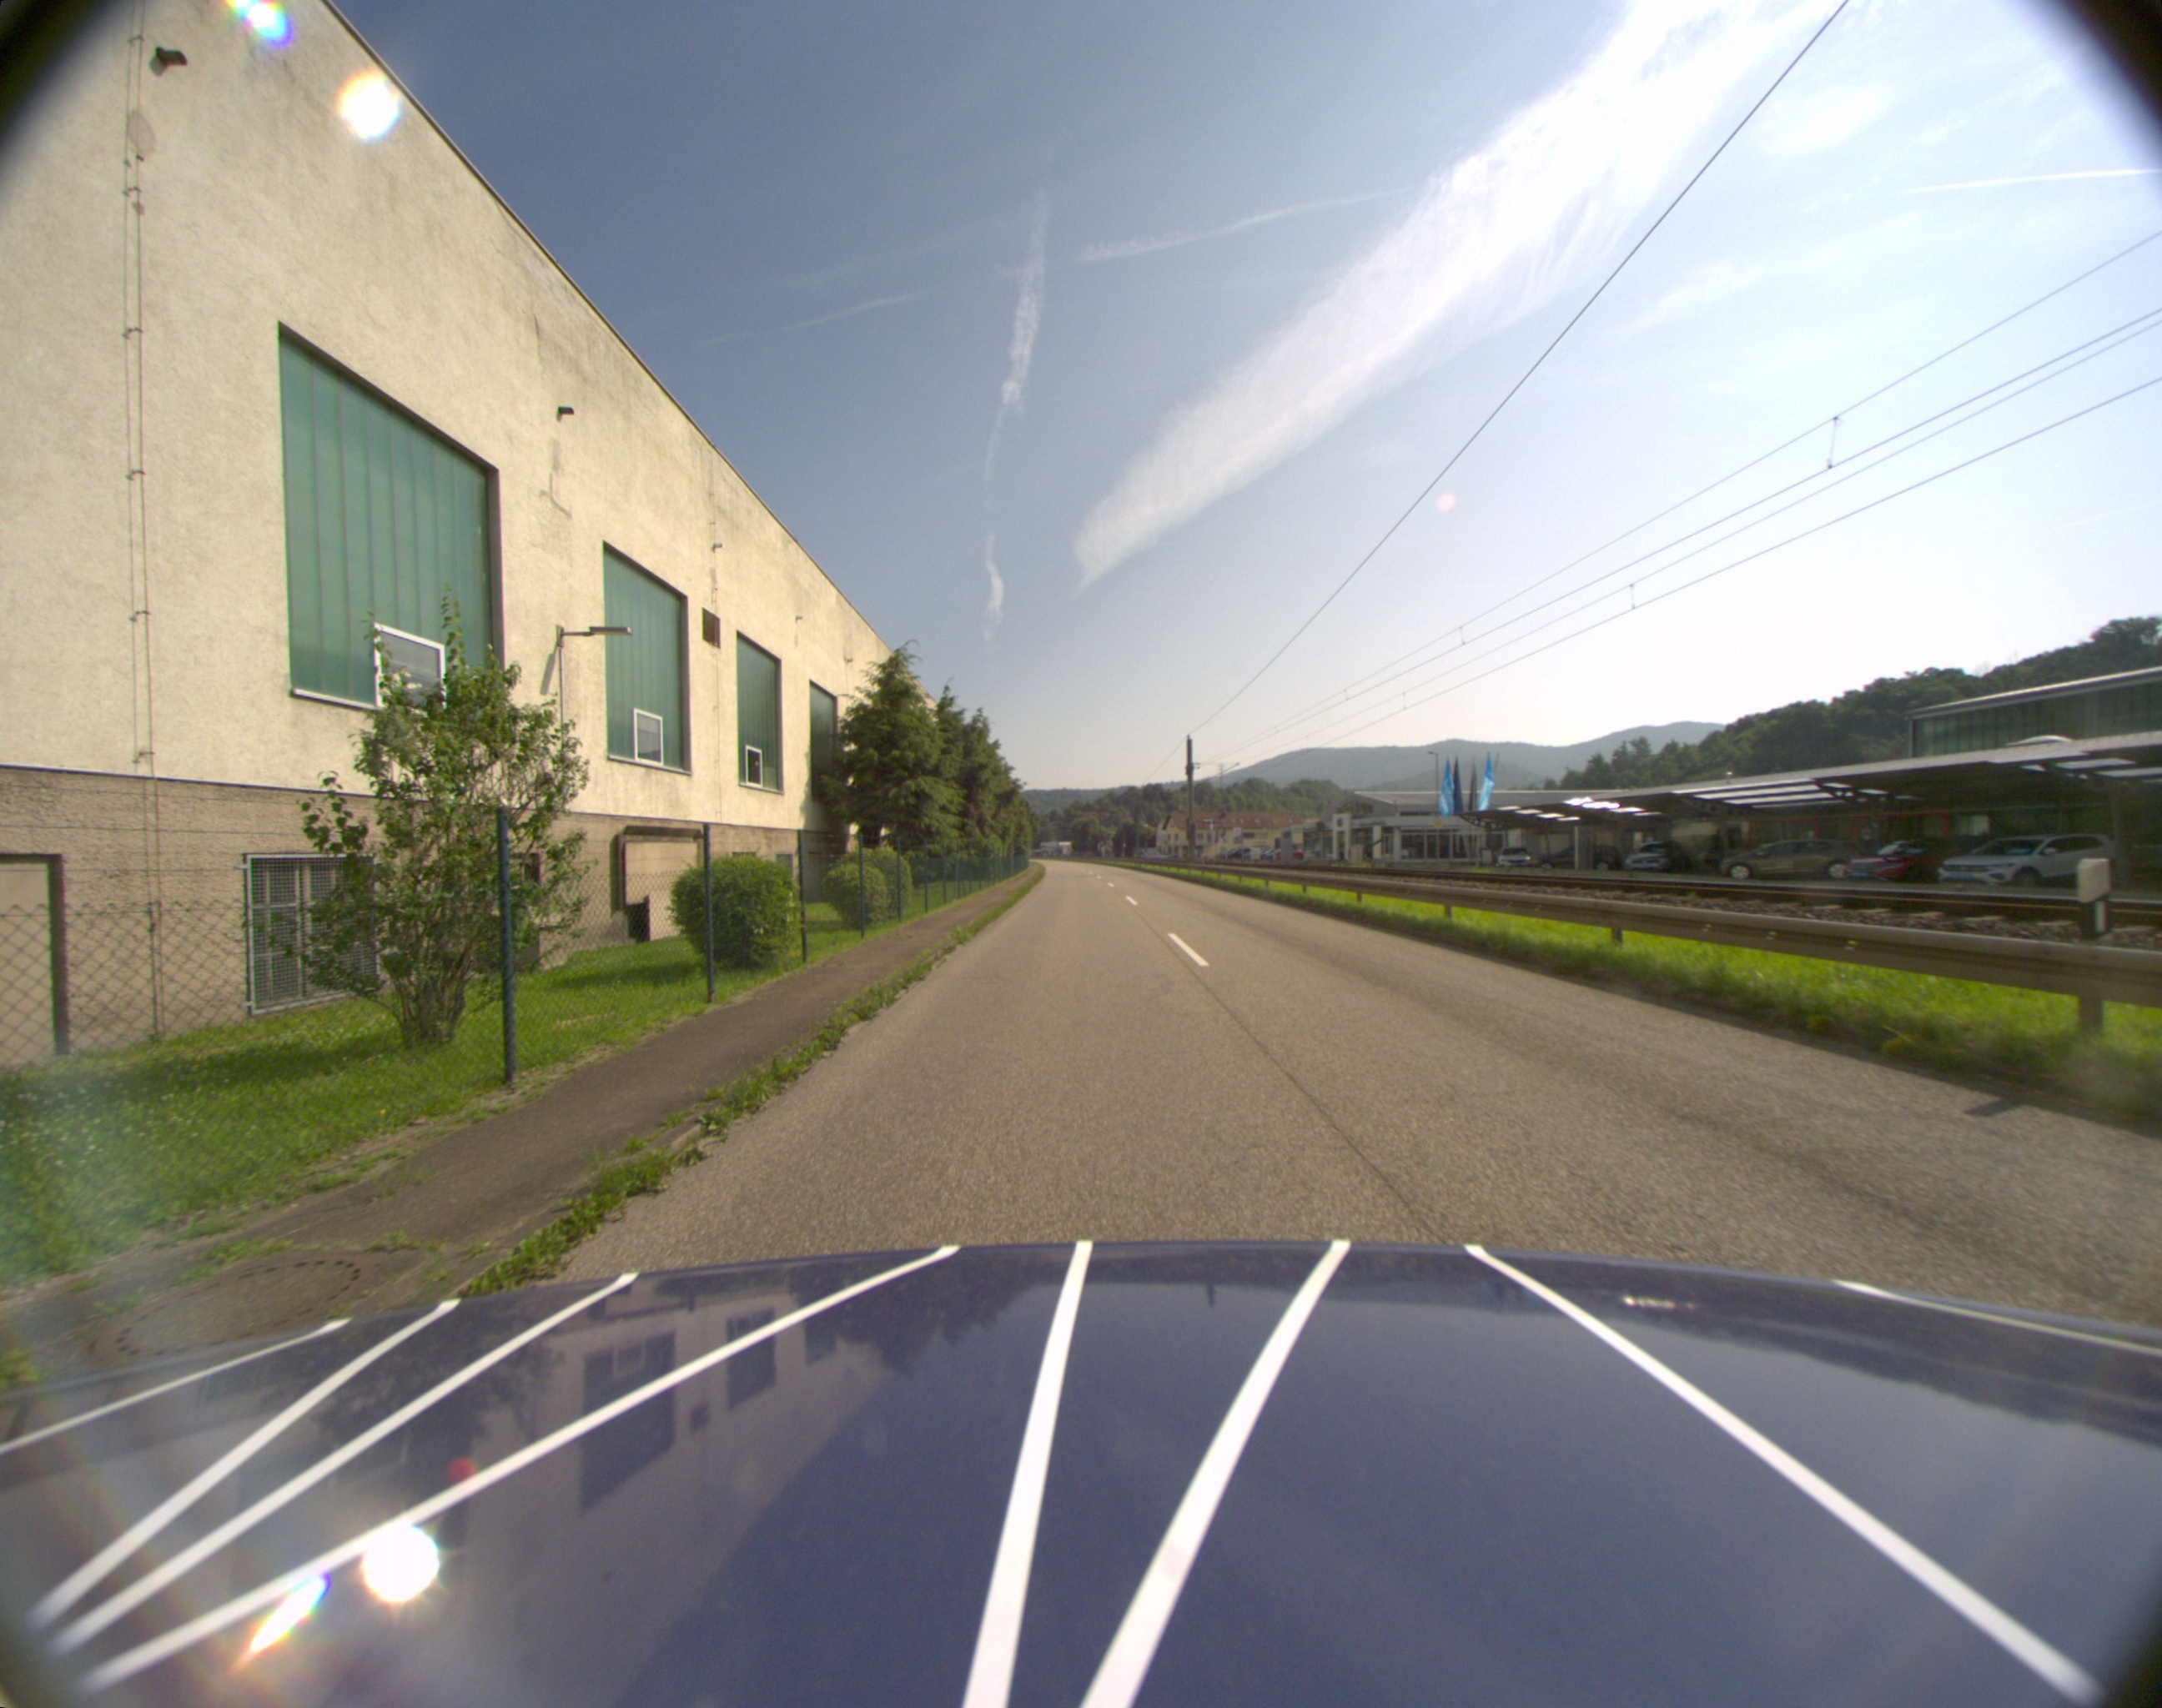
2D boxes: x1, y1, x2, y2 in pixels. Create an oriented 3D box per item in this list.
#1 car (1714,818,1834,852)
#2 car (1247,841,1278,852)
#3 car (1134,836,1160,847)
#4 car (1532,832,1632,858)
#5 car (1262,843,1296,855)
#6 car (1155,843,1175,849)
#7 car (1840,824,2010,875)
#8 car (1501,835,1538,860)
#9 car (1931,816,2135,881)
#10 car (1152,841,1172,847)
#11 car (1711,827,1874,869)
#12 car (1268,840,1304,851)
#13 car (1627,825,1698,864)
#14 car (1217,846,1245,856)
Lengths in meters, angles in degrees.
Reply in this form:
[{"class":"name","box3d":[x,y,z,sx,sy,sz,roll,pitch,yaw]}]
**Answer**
[{"class":"car","box3d":[33.341,-0.922,36.626,4.175,1.497,1.907,-2,1,-4]},{"class":"car","box3d":[26.478,-1.105,110.943,3.998,1.451,1.760,-1,1,-4]},{"class":"car","box3d":[15.694,-2.928,180.795,5.589,2.403,2.235,-2,1,-6]},{"class":"car","box3d":[27.341,-0.485,41.542,1.851,1.334,4.196,-3,1,-42]},{"class":"car","box3d":[26.340,-0.662,100.973,4.002,1.451,1.758,-1,1,-14]},{"class":"car","box3d":[17.980,-1.670,162.246,3.858,1.292,1.647,-2,1,-9]},{"class":"car","box3d":[27.482,-0.161,24.800,3.967,1.317,1.501,-4,1,-2]},{"class":"car","box3d":[26.860,-0.433,46.640,1.842,1.378,4.531,-1,1,29]},{"class":"car","box3d":[27.643,-0.177,22.131,3.967,1.519,1.662,-4,1,-2]},{"class":"car","box3d":[17.571,-2.221,164.867,3.858,1.292,1.647,-2,1,-9]},{"class":"car","box3d":[27.693,-0.215,29.711,1.850,1.497,4.422,-3,1,-39]},{"class":"car","box3d":[26.011,-1.059,96.386,4.000,1.367,1.859,-1,1,-9]},{"class":"car","box3d":[27.801,-0.452,36.268,4.278,1.519,1.842,-5,2,-41]},{"class":"car","box3d":[23.682,-0.486,119.902,3.998,1.451,1.760,-1,1,-4]}]
